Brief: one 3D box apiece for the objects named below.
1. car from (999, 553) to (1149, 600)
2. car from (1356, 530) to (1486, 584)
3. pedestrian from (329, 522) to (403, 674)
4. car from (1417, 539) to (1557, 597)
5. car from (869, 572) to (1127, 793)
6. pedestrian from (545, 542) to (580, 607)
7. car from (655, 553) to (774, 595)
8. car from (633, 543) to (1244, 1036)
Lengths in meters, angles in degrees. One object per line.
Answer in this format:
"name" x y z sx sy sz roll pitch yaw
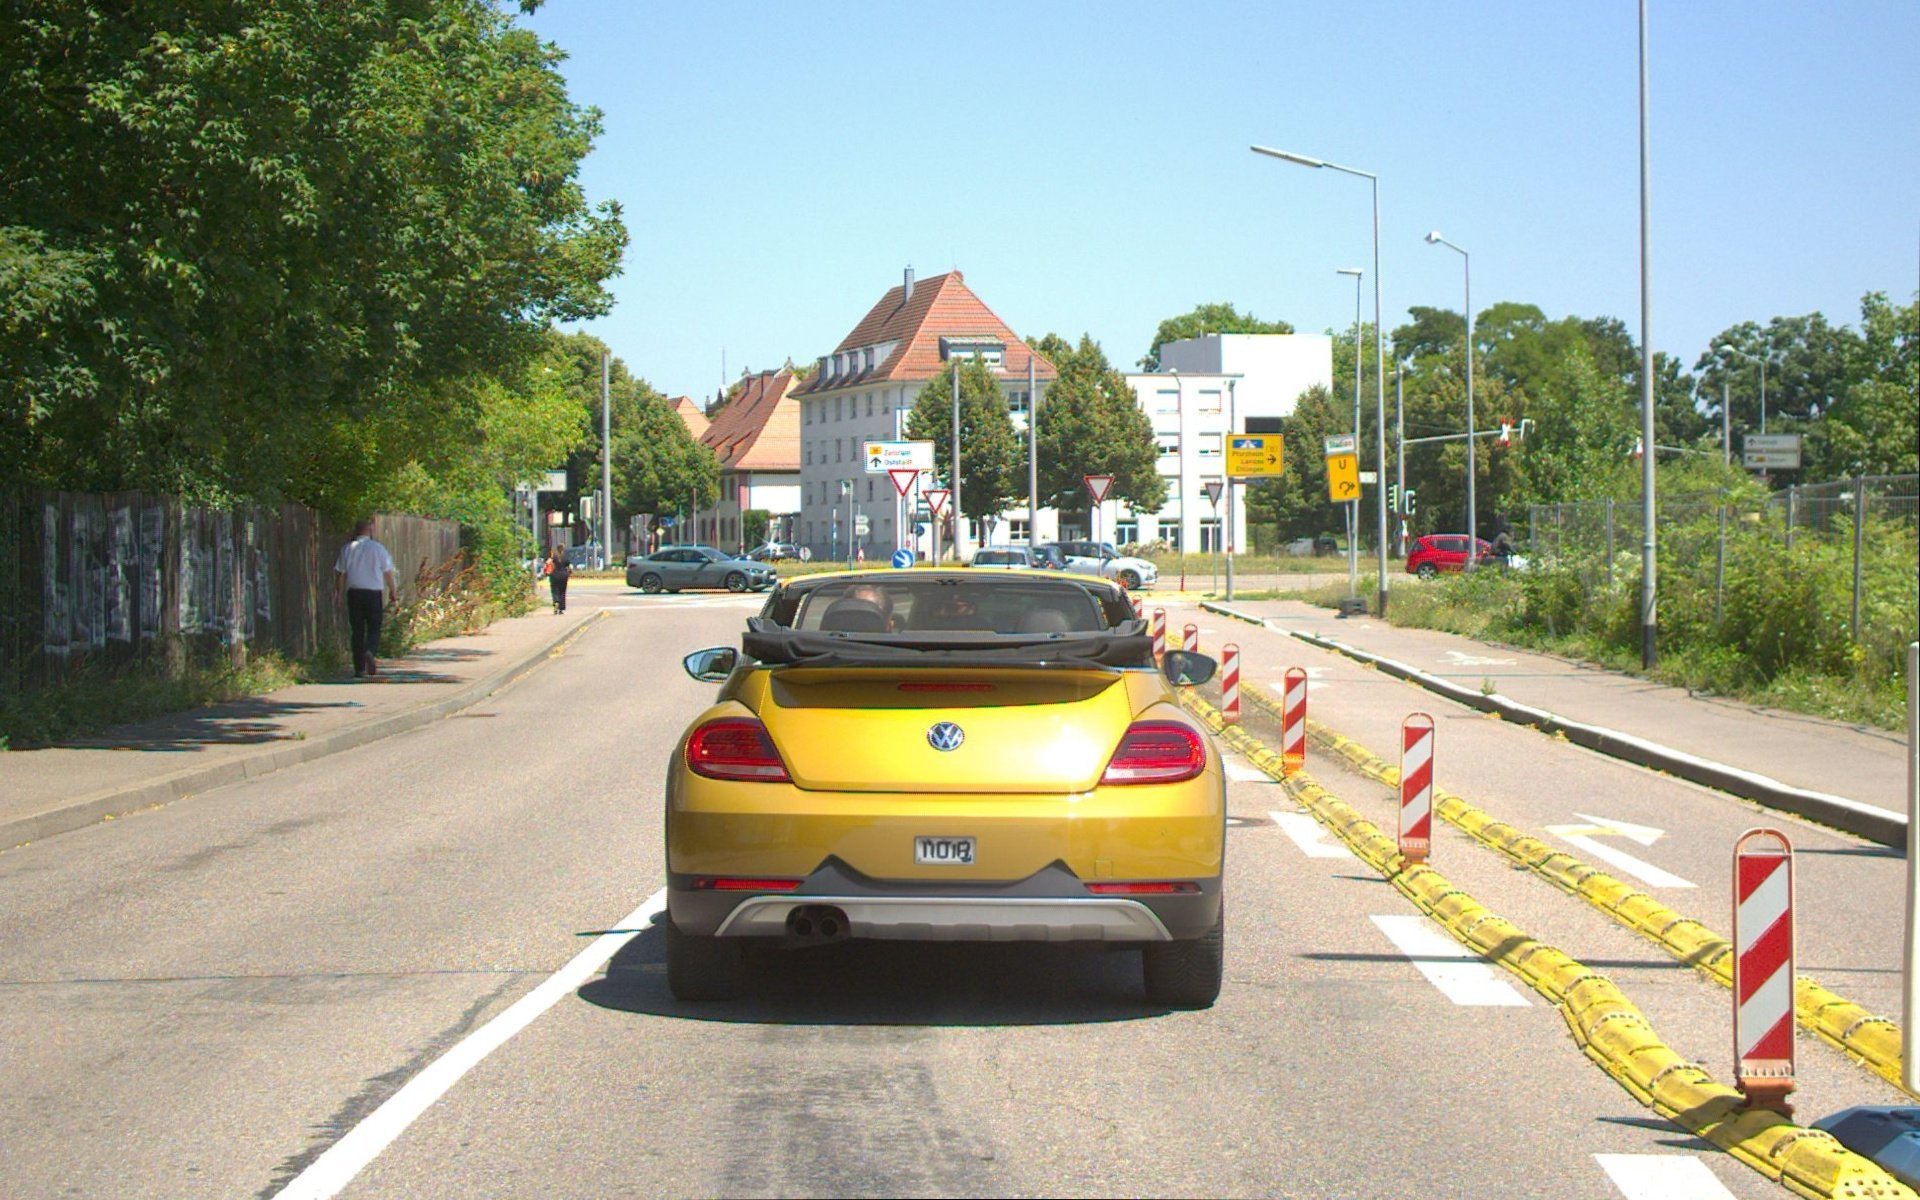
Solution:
"car" 3.468 -0.707 104.634 4.441 1.353 1.537 -1 1 7
"car" 14.805 -1.377 110.375 4.065 1.671 1.784 -1 1 10
"pedestrian" -6.817 -0.029 39.460 0.722 1.719 0.818 -1 1 -3
"car" 15.691 -0.965 102.459 4.065 1.671 1.784 -1 1 9
"car" 0.294 0.540 25.178 1.727 1.438 4.000 -1 1 1
"pedestrian" -8.936 -0.575 77.344 0.722 1.449 0.818 -1 1 -3
"car" -7.590 -0.801 106.333 3.438 1.271 1.406 0 1 9
"car" -0.087 0.580 12.065 1.790 1.432 3.813 -1 -1 -1
